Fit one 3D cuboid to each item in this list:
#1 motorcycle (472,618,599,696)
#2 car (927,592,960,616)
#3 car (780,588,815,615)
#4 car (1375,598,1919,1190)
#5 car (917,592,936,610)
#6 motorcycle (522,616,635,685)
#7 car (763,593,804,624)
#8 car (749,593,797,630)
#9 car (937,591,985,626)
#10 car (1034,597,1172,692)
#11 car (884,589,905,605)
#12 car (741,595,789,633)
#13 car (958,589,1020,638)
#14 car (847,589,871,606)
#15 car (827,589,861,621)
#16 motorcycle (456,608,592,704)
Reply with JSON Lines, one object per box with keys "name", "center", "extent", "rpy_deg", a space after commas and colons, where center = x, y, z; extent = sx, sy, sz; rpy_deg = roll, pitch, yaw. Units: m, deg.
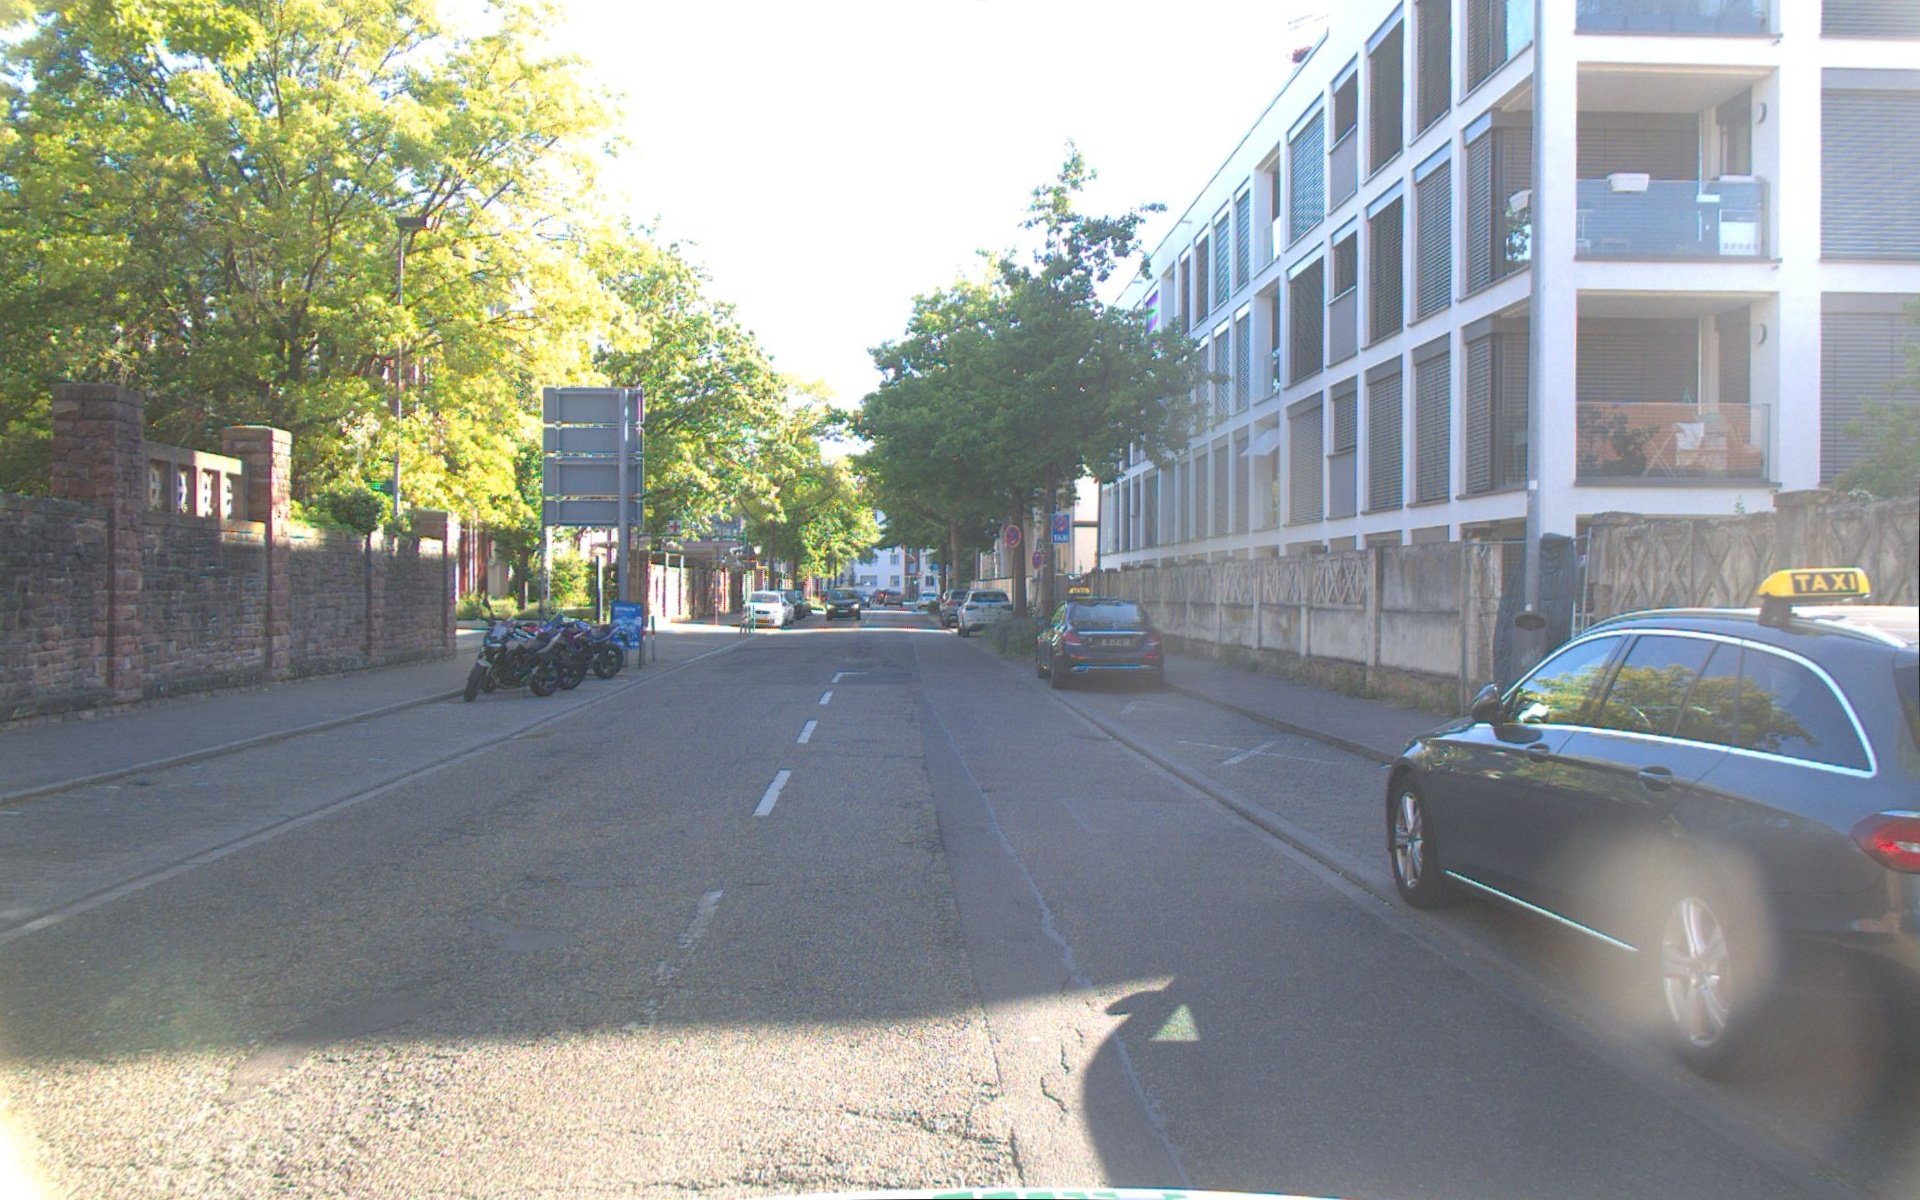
{"name": "motorcycle", "center": [-6.450, 0.847, 25.237], "extent": [0.565, 1.093, 2.117], "rpy_deg": [0, 0, 30]}
{"name": "car", "center": [-1.051, 0.234, 103.253], "extent": [1.953, 1.450, 3.835], "rpy_deg": [0, 0, -2]}
{"name": "car", "center": [-9.761, 0.054, 99.404], "extent": [1.869, 1.557, 3.998], "rpy_deg": [1, 0, -3]}
{"name": "car", "center": [3.191, 0.762, 6.565], "extent": [1.669, 1.494, 4.786], "rpy_deg": [1, 0, -3]}
{"name": "car", "center": [-2.773, 0.093, 137.490], "extent": [1.553, 1.424, 3.835], "rpy_deg": [0, 0, -2]}
{"name": "motorcycle", "center": [-6.465, 0.832, 28.140], "extent": [0.565, 1.093, 2.117], "rpy_deg": [0, 0, 30]}
{"name": "car", "center": [-9.176, 0.430, 86.358], "extent": [1.869, 1.557, 3.998], "rpy_deg": [0, 0, -3]}
{"name": "car", "center": [-8.362, 0.498, 74.216], "extent": [1.869, 1.557, 3.998], "rpy_deg": [0, 0, -3]}
{"name": "car", "center": [0.022, 0.348, 72.426], "extent": [1.953, 1.491, 3.835], "rpy_deg": [0, 0, -2]}
{"name": "car", "center": [2.333, 0.694, 27.852], "extent": [1.732, 1.465, 3.997], "rpy_deg": [0, 0, -4]}
{"name": "car", "center": [-6.015, -0.252, 151.645], "extent": [1.851, 1.424, 3.835], "rpy_deg": [0, 0, -2]}
{"name": "car", "center": [-8.033, 0.557, 68.355], "extent": [1.732, 1.513, 3.997], "rpy_deg": [0, 0, -4]}
{"name": "car", "center": [0.955, 0.430, 56.614], "extent": [1.911, 1.606, 3.835], "rpy_deg": [0, 0, -2]}
{"name": "car", "center": [-8.852, -0.212, 145.569], "extent": [1.953, 1.478, 3.999], "rpy_deg": [0, 0, -1]}
{"name": "car", "center": [-5.956, 0.233, 84.958], "extent": [1.620, 1.557, 3.998], "rpy_deg": [0, 0, -3]}
{"name": "motorcycle", "center": [-6.261, 0.779, 23.873], "extent": [0.565, 1.298, 2.117], "rpy_deg": [0, 0, 30]}
